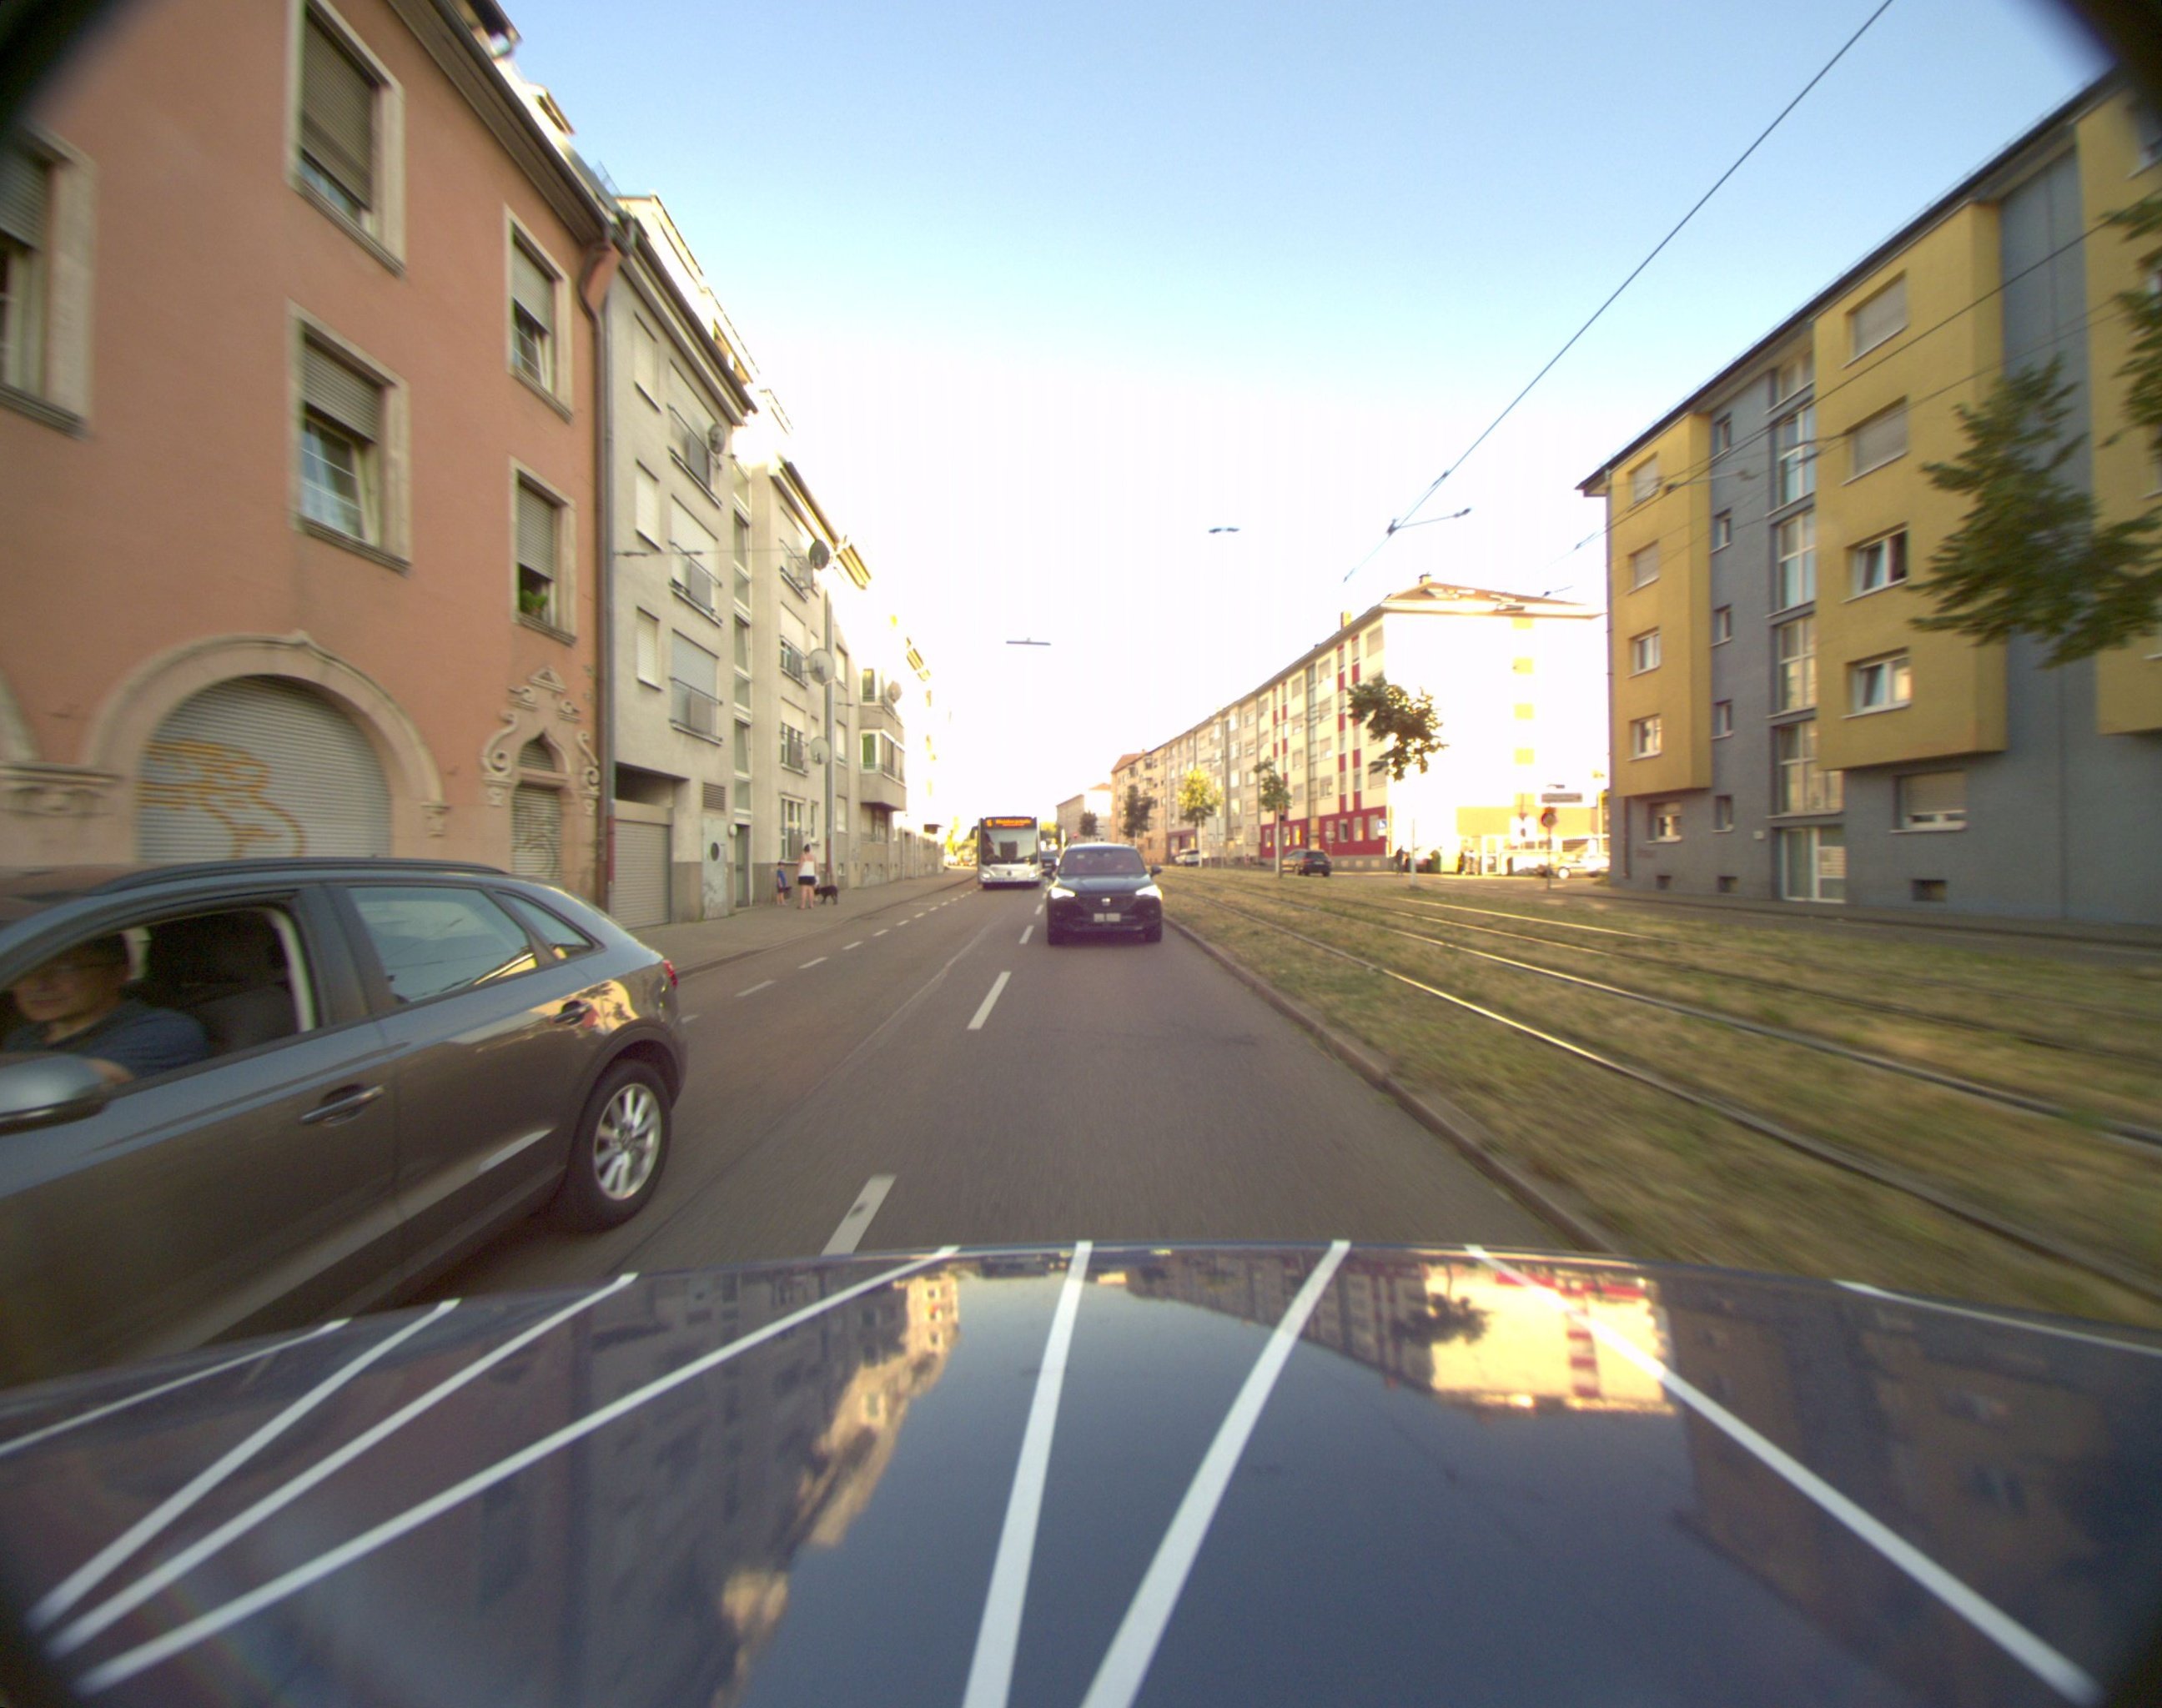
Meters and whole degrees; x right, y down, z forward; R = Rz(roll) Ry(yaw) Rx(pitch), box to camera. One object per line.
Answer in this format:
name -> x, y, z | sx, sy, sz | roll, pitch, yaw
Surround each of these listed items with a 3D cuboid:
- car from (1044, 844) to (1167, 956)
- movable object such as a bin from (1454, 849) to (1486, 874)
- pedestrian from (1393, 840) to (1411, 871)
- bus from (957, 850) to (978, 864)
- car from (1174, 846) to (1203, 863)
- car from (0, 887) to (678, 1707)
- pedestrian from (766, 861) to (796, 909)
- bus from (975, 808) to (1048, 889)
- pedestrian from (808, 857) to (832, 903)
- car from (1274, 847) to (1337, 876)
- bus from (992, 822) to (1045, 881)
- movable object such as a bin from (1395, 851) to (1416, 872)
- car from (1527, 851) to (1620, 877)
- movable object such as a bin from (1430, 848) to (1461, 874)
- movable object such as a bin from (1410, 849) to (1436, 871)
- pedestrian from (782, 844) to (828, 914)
car -> 0.371, 0.704, 13.529 | 1.788, 1.614, 4.216 | -2, 0, 0
movable object such as a bin -> 22.217, 0.404, 43.424 | 1.220, 1.407, 1.107 | -1, 1, -5
pedestrian -> 17.993, 0.081, 42.625 | 0.615, 1.679, 0.791 | -1, 0, -6
bus -> -24.810, 0.623, 166.060 | 3.878, 2.835, 13.814 | -2, 0, -11
car -> 11.481, 0.073, 81.490 | 1.873, 1.818, 4.418 | 0, 0, -8
car -> -2.842, 0.948, 1.620 | 1.771, 1.578, 4.068 | -1, 0, 0
pedestrian -> -7.975, 0.816, 20.219 | 0.589, 1.244, 0.584 | 0, 0, -1
bus -> -2.992, -0.217, 34.757 | 2.732, 3.059, 10.597 | -2, 0, -3
pedestrian -> -7.646, 0.755, 22.293 | 0.515, 1.337, 0.609 | 1, 1, -4
car -> 12.511, 0.378, 42.641 | 1.798, 1.460, 4.793 | 2, 1, -4
bus -> -3.575, -0.126, 45.363 | 2.713, 3.059, 10.597 | -2, 0, -3
movable object such as a bin -> 19.101, 0.412, 44.750 | 0.869, 1.219, 0.806 | -1, 1, -5
car -> 26.093, 0.517, 40.333 | 3.873, 1.286, 1.701 | -1, 0, -4
movable object such as a bin -> 20.778, 0.384, 43.325 | 1.220, 1.407, 1.138 | -1, 1, -5
movable object such as a bin -> 20.167, 0.371, 44.843 | 1.161, 1.279, 0.806 | -1, 1, -5
pedestrian -> -7.146, 0.635, 19.694 | 0.832, 1.761, 0.996 | 0, 0, -1
